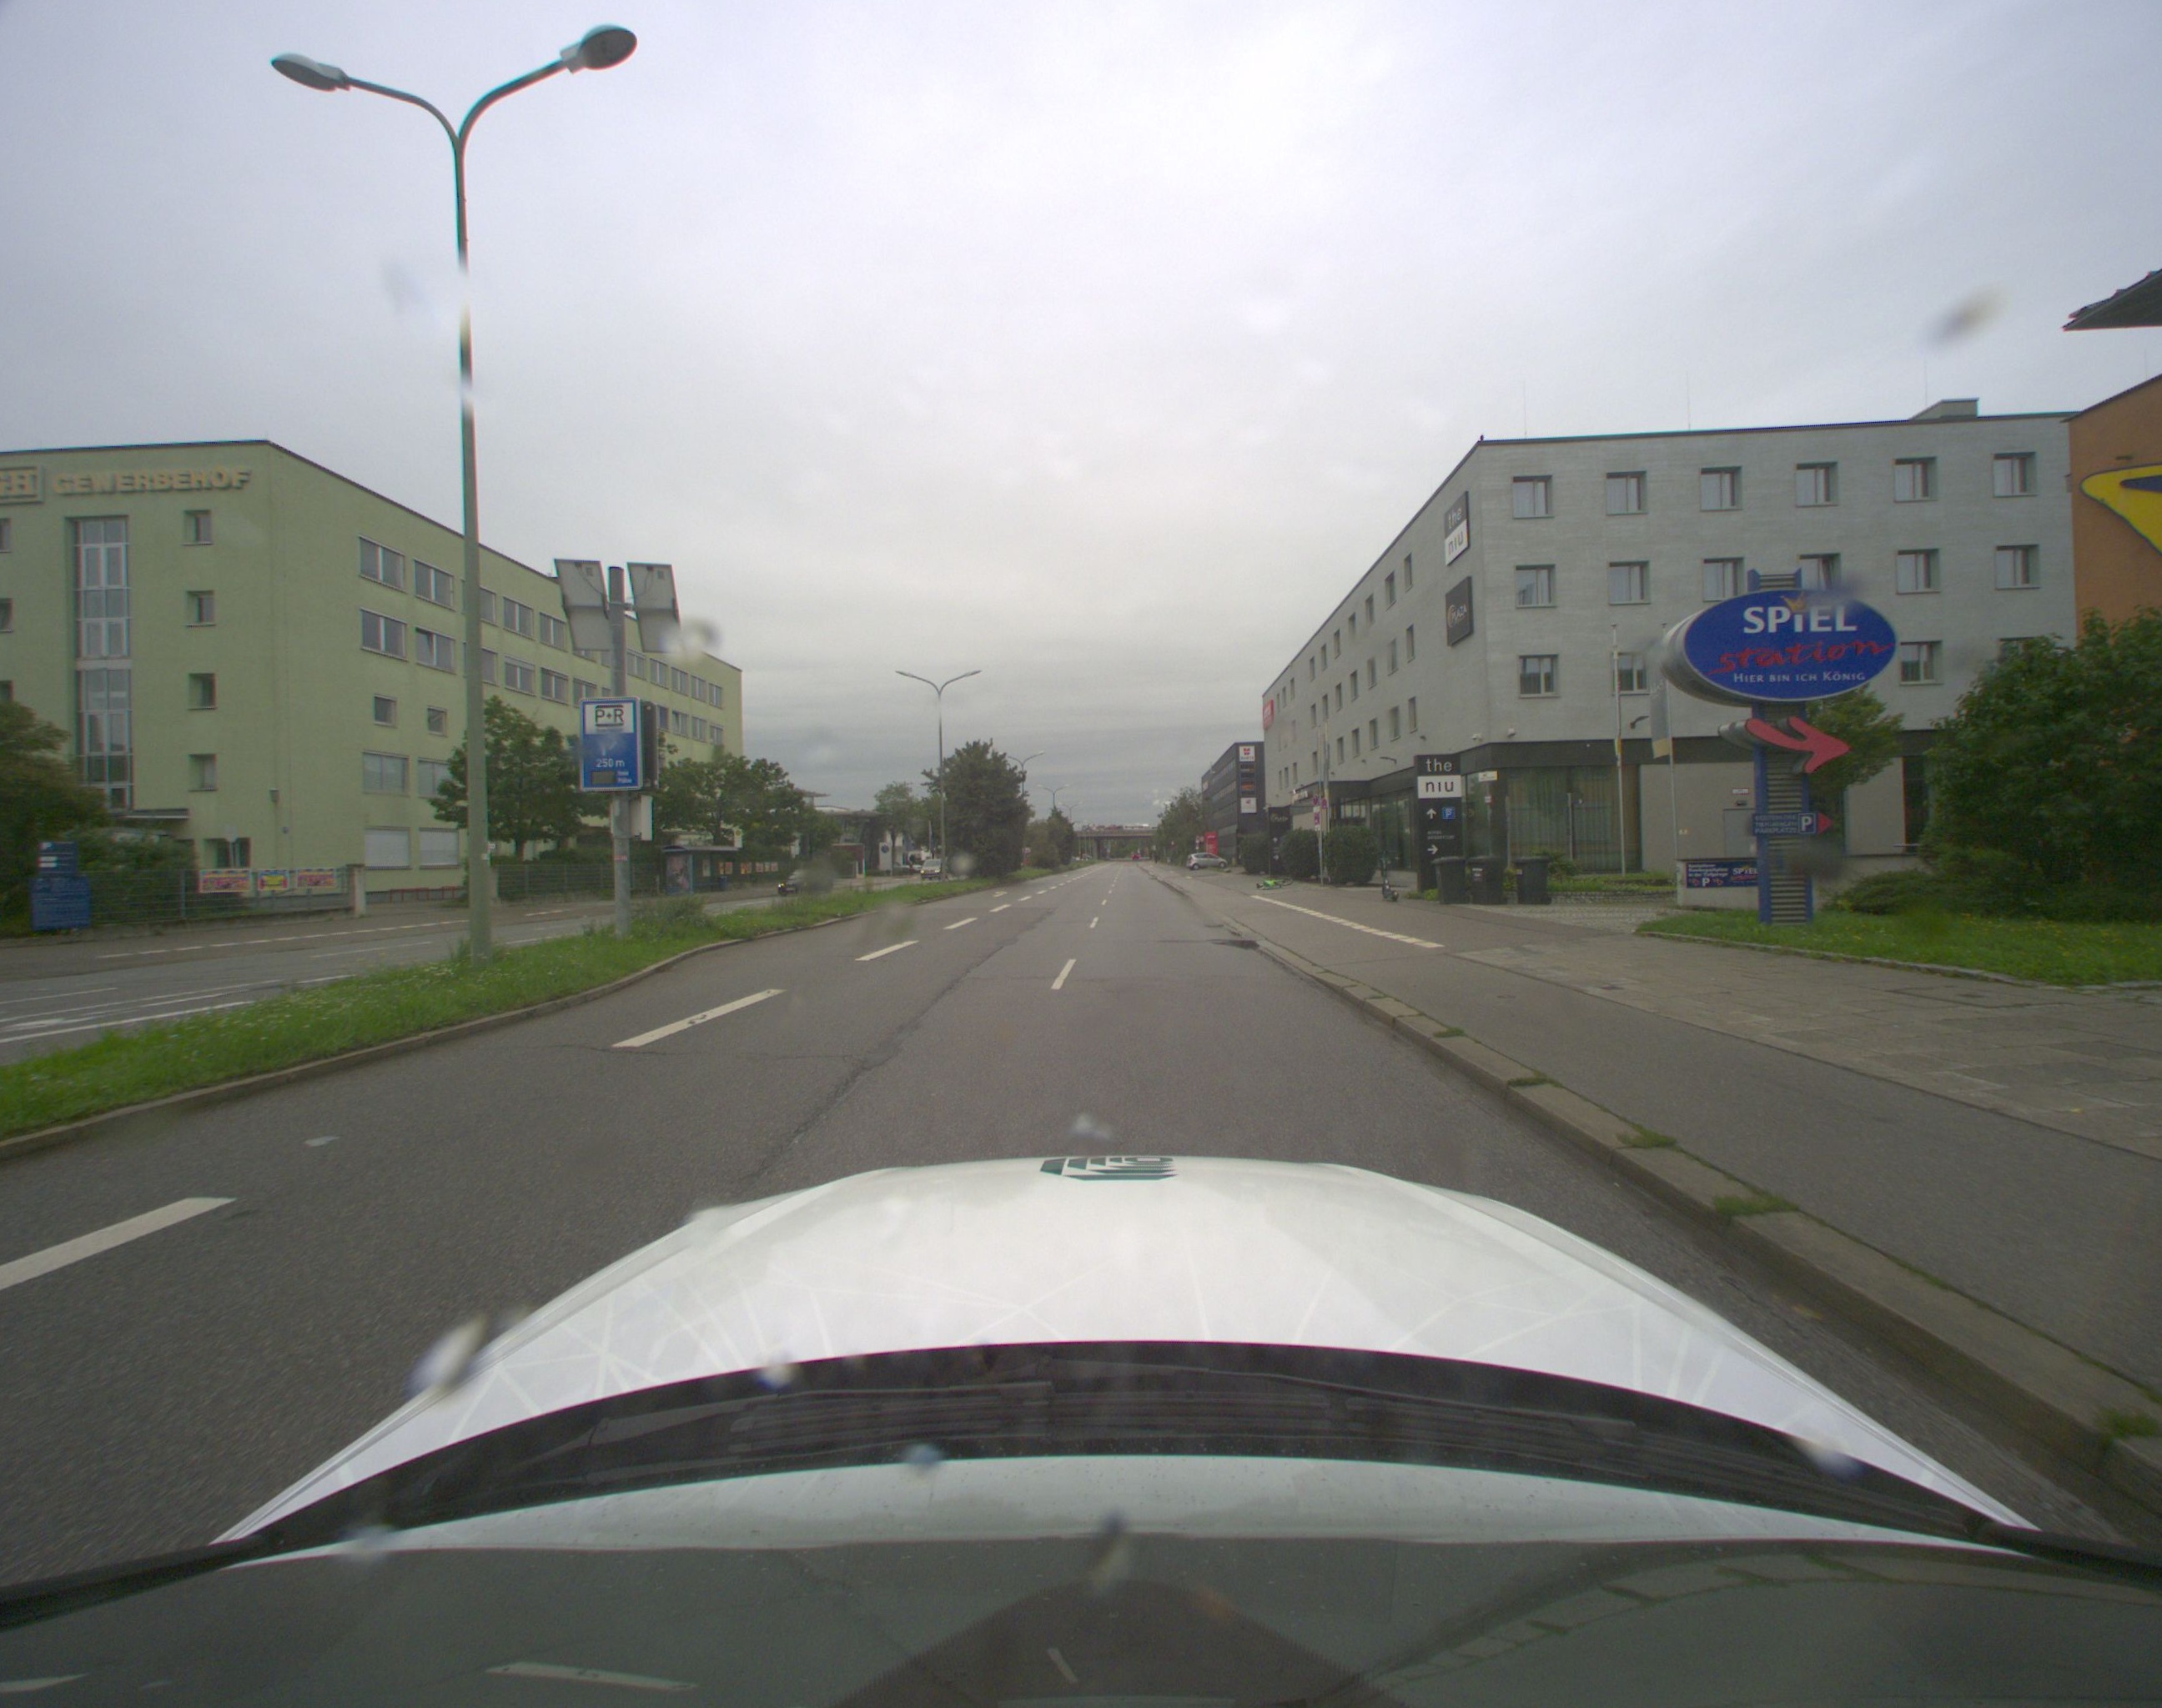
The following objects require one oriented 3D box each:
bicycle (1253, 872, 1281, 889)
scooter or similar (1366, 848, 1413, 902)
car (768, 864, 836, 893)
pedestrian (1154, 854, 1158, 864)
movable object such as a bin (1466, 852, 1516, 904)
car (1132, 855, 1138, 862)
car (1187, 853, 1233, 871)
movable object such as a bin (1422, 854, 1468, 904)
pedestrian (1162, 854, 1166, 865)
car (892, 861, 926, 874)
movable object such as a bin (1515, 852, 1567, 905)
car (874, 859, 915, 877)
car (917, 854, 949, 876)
[{"bbox_3d":[7.107,1.002,31.209,0.717,0.548,1.733,-5,0,3],"label":"bicycle"},{"bbox_3d":[7.815,0.521,20.675,0.583,1.277,1.405,-6,-1,3],"label":"scooter or similar"},{"bbox_3d":[-15.487,1.331,45.529,1.986,1.401,4.657,-3,0,2],"label":"car"},{"bbox_3d":[14.802,1.051,160.648,0.686,1.876,0.662,-3,-1,2],"label":"pedestrian"},{"bbox_3d":[8.983,0.511,17.874,0.734,1.078,0.656,-3,0,3],"label":"movable object such as a bin"},{"bbox_3d":[16.499,1.421,248.943,1.804,2.013,3.838,-1,0,5],"label":"car"},{"bbox_3d":[12.229,0.753,77.244,4.010,1.557,1.815,-1,0,-8],"label":"car"},{"bbox_3d":[8.255,0.549,18.480,0.734,1.078,0.656,-3,0,3],"label":"movable object such as a bin"},{"bbox_3d":[15.523,1.015,151.934,0.686,1.876,0.662,-3,-1,2],"label":"pedestrian"},{"bbox_3d":[-22.660,1.816,107.298,3.951,1.509,1.811,-3,0,24],"label":"car"},{"bbox_3d":[9.961,0.520,17.655,0.734,1.078,0.656,-3,0,3],"label":"movable object such as a bin"},{"bbox_3d":[-22.549,1.674,98.469,4.648,1.842,1.789,-3,0,-20],"label":"car"},{"bbox_3d":[-14.083,1.013,77.619,1.986,1.960,4.326,-3,0,2],"label":"car"}]
